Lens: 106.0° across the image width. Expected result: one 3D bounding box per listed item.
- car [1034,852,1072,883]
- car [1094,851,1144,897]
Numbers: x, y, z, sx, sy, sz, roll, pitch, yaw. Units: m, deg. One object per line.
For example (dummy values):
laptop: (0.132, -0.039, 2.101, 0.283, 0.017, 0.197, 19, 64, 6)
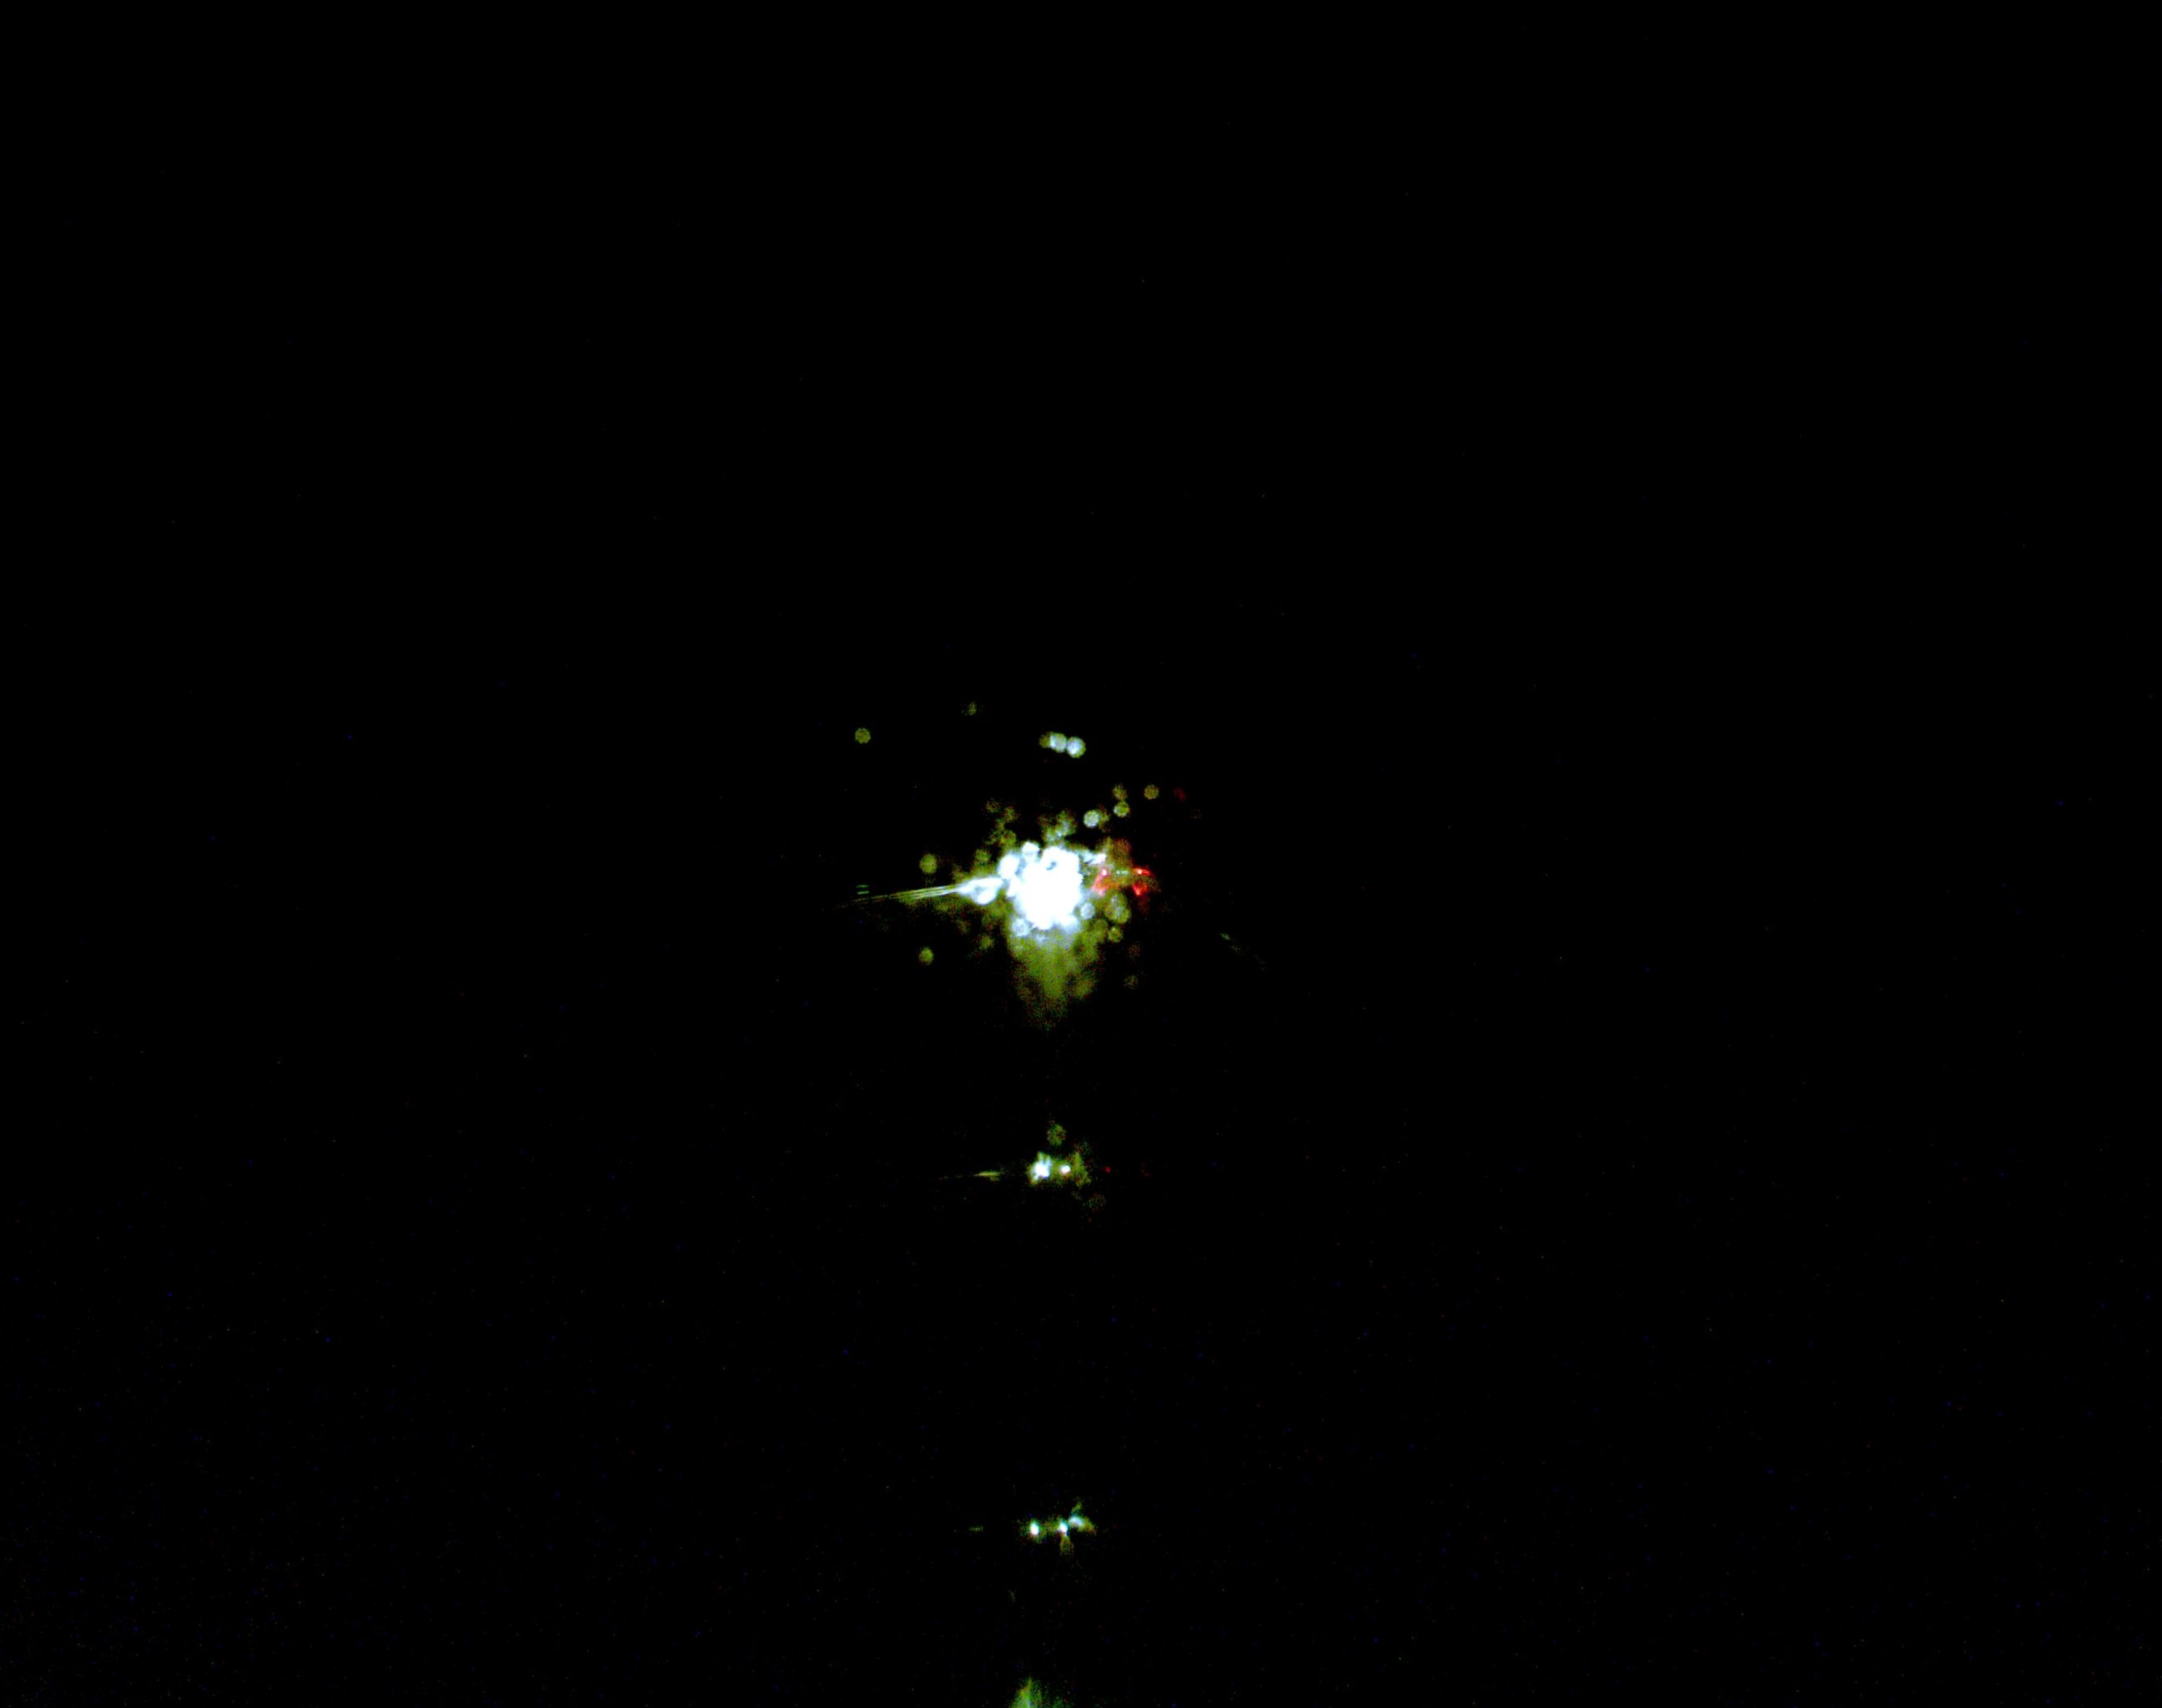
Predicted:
car: (-1.634, 0.772, 49.502, 1.793, 1.580, 4.460, -6, 0, 3)
car: (1.666, 0.854, 37.337, 1.987, 1.806, 3.917, -4, 2, 0)
